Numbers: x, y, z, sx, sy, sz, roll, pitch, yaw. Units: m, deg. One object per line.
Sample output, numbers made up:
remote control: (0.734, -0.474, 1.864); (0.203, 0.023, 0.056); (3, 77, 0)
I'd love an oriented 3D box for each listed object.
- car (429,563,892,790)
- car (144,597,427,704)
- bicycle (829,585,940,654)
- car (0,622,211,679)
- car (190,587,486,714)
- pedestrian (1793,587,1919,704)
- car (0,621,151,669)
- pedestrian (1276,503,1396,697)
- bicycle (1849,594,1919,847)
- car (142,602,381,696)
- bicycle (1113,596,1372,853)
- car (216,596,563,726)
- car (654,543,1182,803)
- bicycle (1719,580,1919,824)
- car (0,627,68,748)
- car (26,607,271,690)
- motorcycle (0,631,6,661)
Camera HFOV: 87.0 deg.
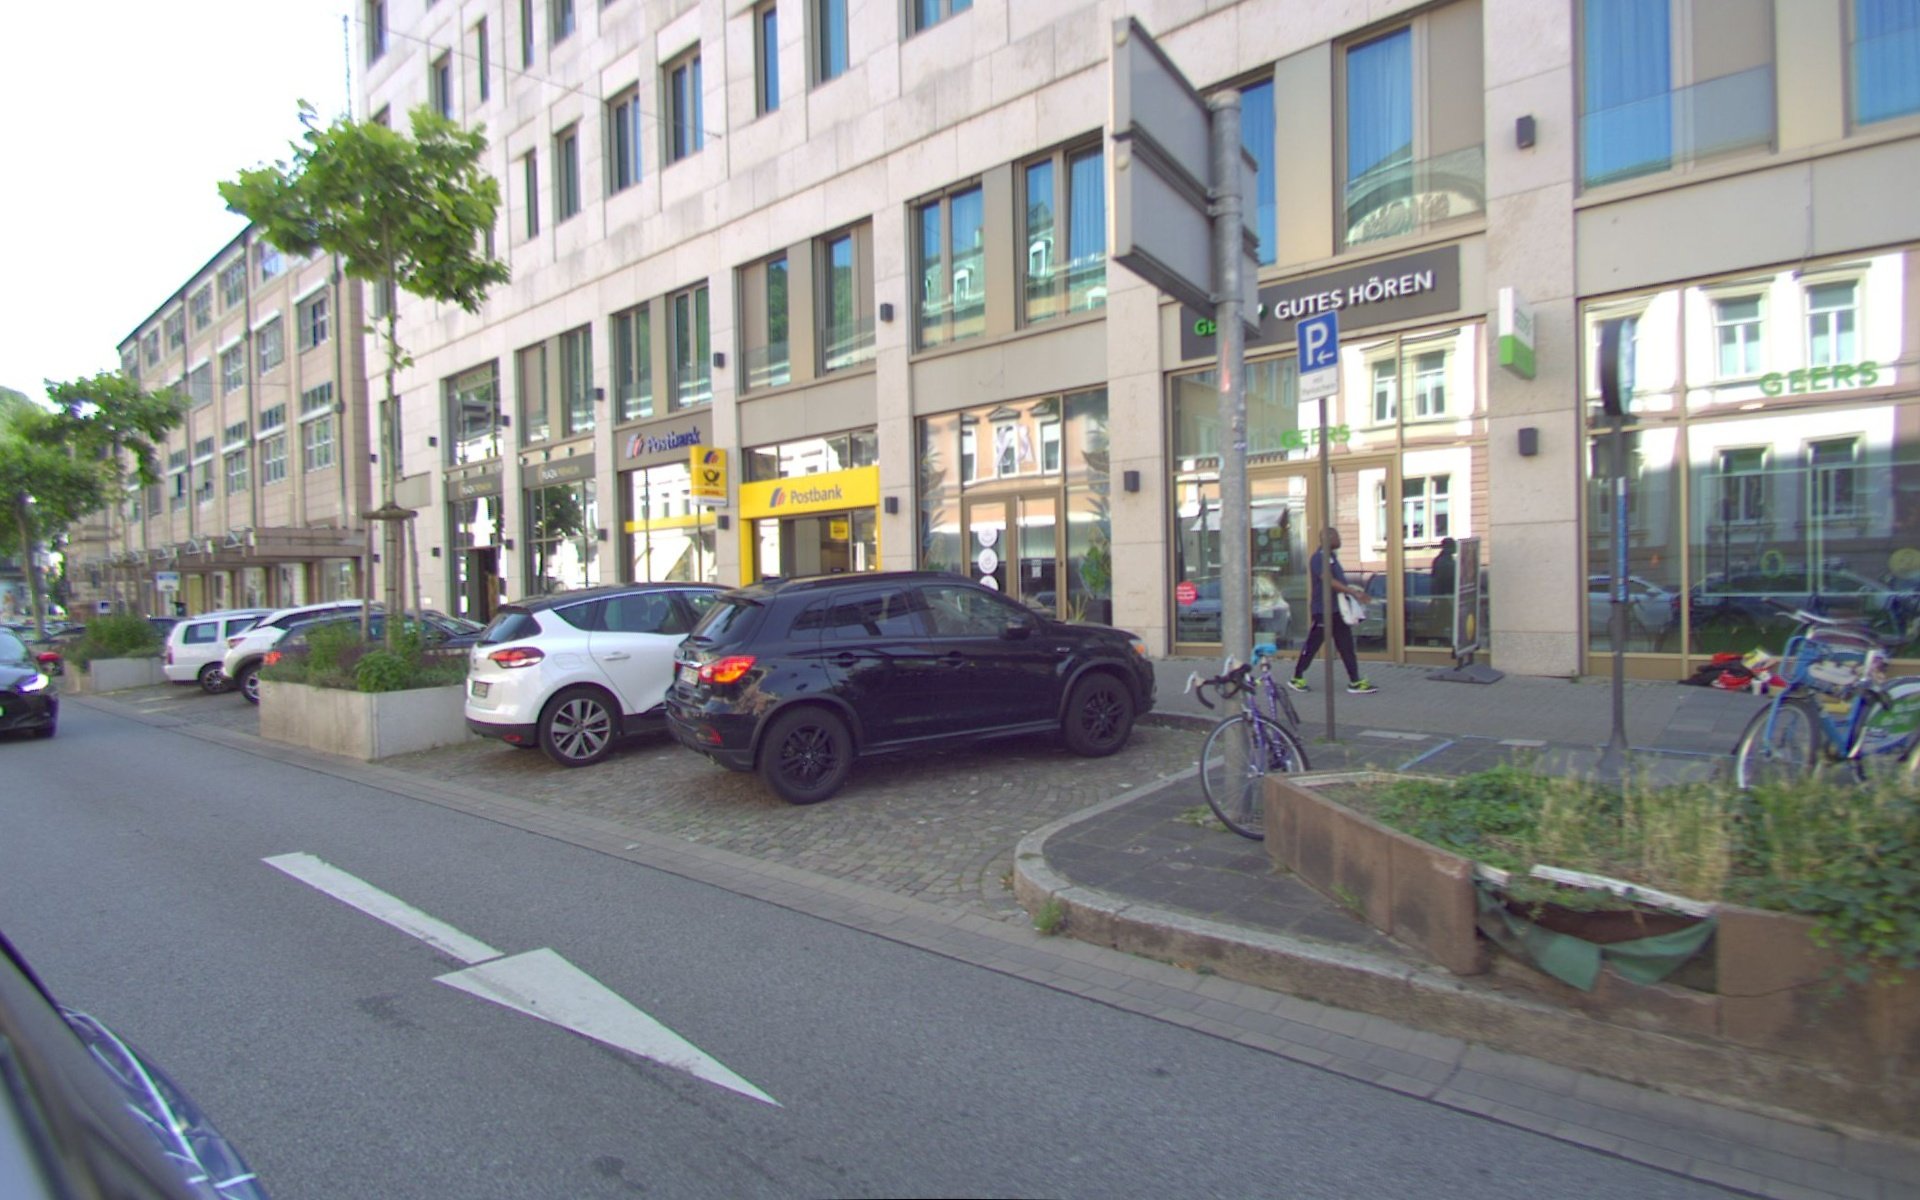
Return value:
car: (-3.045, 0.609, 10.714); (4.107, 1.648, 2.106); (-7, 4, -40)
car: (-13.271, 0.908, 20.279); (4.426, 1.442, 1.869); (-7, 4, -29)
bicycle: (-1.331, 0.337, 17.484); (2.160, 1.115, 0.490); (-2, 2, 42)
car: (-24.718, 1.434, 29.398); (4.552, 1.457, 1.734); (-1, 0, -4)
car: (-10.752, 0.808, 17.837); (3.971, 1.604, 1.825); (-6, 4, -16)
pedestrian: (7.879, 0.373, 8.893); (0.841, 0.932, 1.237); (-2, 0, 40)
car: (-33.858, 1.694, 38.112); (5.052, 1.645, 1.847); (-1, -1, -9)
pedestrian: (3.901, -0.017, 10.488); (0.844, 1.892, 0.830); (-1, 4, 42)
bicycle: (5.485, 0.502, 5.109); (2.289, 1.135, 0.564); (-4, 2, -24)
car: (-15.366, 0.992, 22.435); (1.819, 1.539, 3.948); (1, 5, 40)
bicycle: (1.715, 0.611, 5.857); (0.485, 1.135, 2.118); (-3, 1, 42)
car: (-8.510, 0.849, 15.531); (4.247, 1.460, 1.792); (-5, 2, -15)
car: (-0.355, 0.433, 8.618); (3.965, 1.614, 1.965); (-4, 3, -26)
bicycle: (5.113, 0.501, 5.675); (1.835, 1.135, 0.486); (-4, 1, -24)
car: (-13.570, 1.157, 13.524); (4.102, 1.489, 1.845); (-3, -3, 39)
car: (-20.681, 1.191, 26.033); (4.455, 1.515, 1.798); (-6, 4, -18)
motorcycle: (-45.807, 2.150, 46.450); (3.058, 1.361, 0.979); (-1, 0, -1)
